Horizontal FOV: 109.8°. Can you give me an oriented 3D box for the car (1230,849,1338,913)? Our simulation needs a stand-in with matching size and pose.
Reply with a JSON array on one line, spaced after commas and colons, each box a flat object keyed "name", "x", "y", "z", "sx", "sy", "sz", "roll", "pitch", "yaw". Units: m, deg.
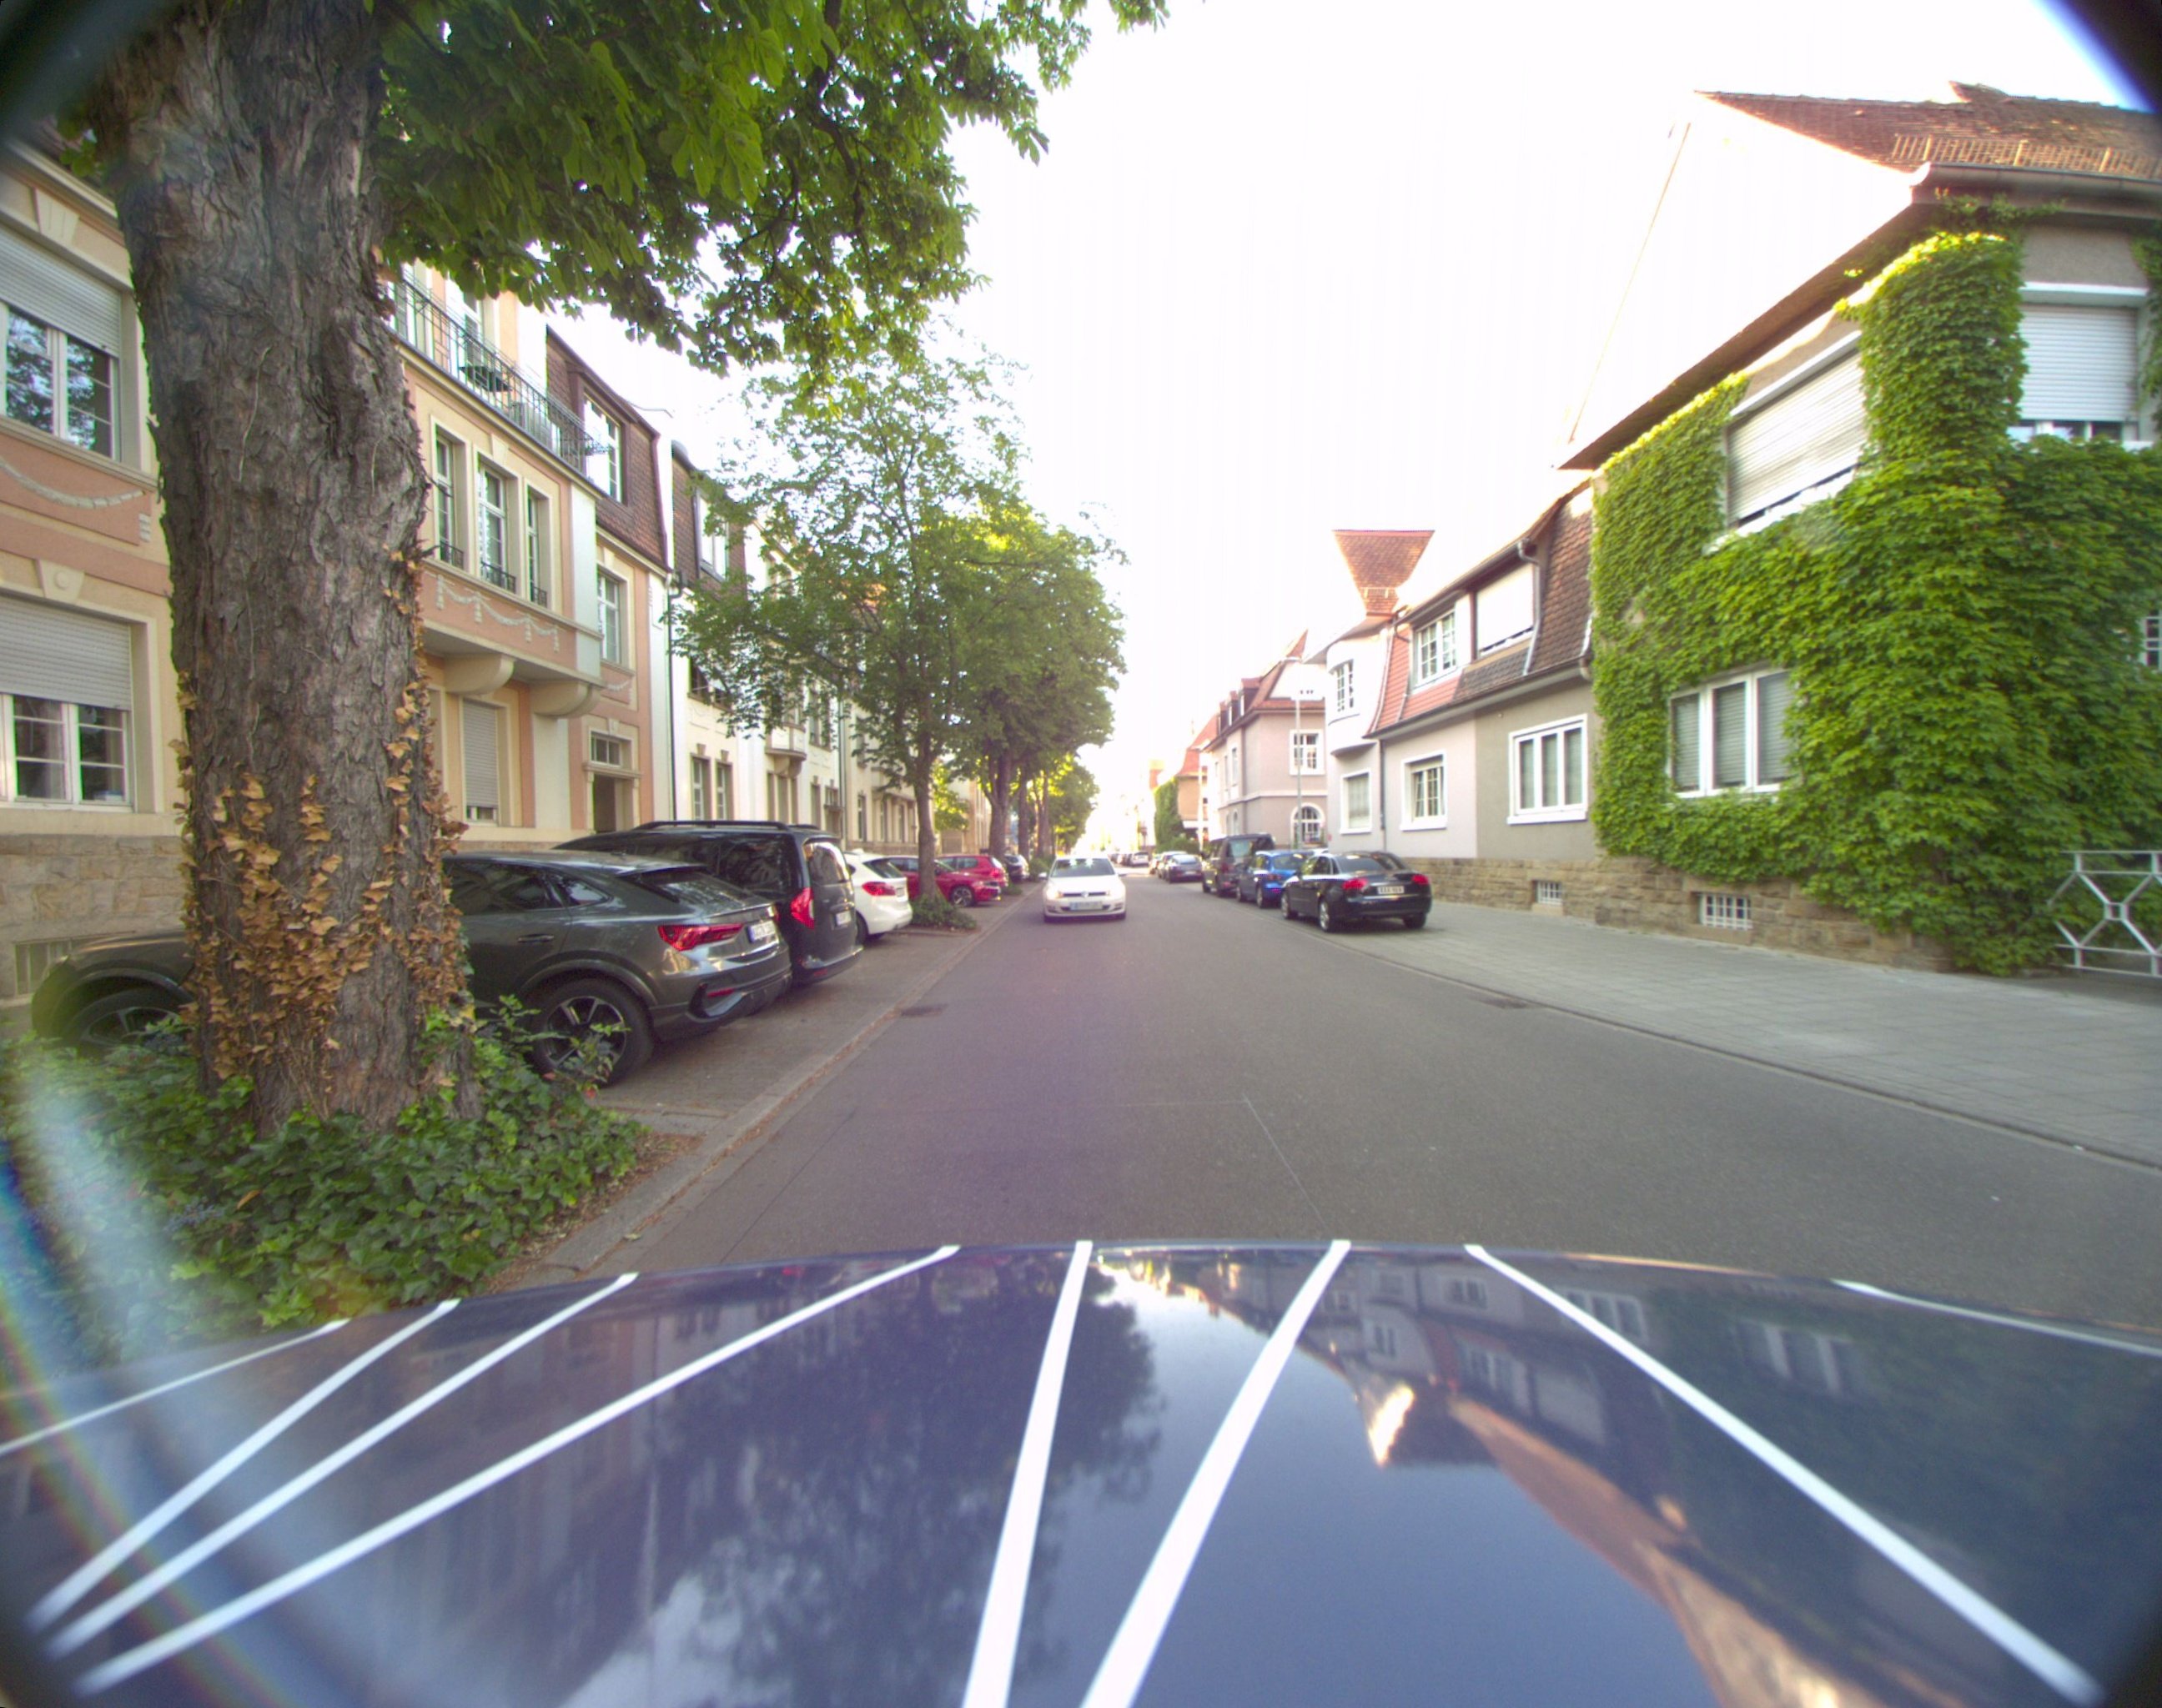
[{"name": "car", "x": 5.284, "y": 0.639, "z": 20.343, "sx": 1.768, "sy": 1.438, "sz": 4.062, "roll": -3, "pitch": 1, "yaw": 0}]

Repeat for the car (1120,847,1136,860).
[{"name": "car", "x": 5.563, "y": -0.070, "z": 91.009, "sx": 1.699, "sy": 1.520, "sz": 3.677, "roll": -3, "pitch": 1, "yaw": 2}]

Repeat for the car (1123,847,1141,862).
[{"name": "car", "x": 5.436, "y": 0.039, "z": 80.764, "sx": 1.699, "sy": 1.520, "sz": 3.677, "roll": -3, "pitch": 1, "yaw": 2}]

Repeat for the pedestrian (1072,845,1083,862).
[{"name": "pedestrian", "x": -0.373, "y": -0.070, "z": 85.685, "sx": 1.119, "sy": 1.927, "sz": 1.097, "roll": -3, "pitch": 1, "yaw": -1}]

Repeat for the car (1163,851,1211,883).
[{"name": "car", "x": 5.064, "y": 0.585, "z": 36.668, "sx": 1.932, "sy": 1.376, "sz": 4.063, "roll": -3, "pitch": 1, "yaw": 4}]

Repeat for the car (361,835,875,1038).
[{"name": "car", "x": -4.432, "y": 0.737, "z": 7.832, "sx": 4.121, "sy": 1.827, "sz": 1.844, "roll": 0, "pitch": 1, "yaw": -2}]

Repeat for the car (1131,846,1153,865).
[{"name": "car", "x": 5.422, "y": 0.133, "z": 68.007, "sx": 1.699, "sy": 1.558, "sz": 3.677, "roll": -3, "pitch": 1, "yaw": 2}]

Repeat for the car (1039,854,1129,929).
[{"name": "car", "x": 0.097, "y": 0.775, "z": 17.699, "sx": 1.819, "sy": 1.454, "sz": 4.072, "roll": -2, "pitch": 0, "yaw": 1}]

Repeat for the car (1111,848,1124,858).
[{"name": "car", "x": 5.547, "y": -0.176, "z": 115.862, "sx": 1.699, "sy": 1.520, "sz": 3.677, "roll": -3, "pitch": 1, "yaw": 2}]

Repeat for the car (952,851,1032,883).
[{"name": "car", "x": -4.278, "y": 0.616, "z": 36.840, "sx": 3.680, "sy": 1.548, "sz": 1.576, "roll": 0, "pitch": 1, "yaw": 2}]

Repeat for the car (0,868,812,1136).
[{"name": "car", "x": -4.534, "y": 0.892, "z": 5.507, "sx": 4.522, "sy": 1.514, "sz": 1.844, "roll": 0, "pitch": 1, "yaw": -4}]

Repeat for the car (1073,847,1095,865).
[{"name": "car", "x": 0.300, "y": 0.132, "z": 65.017, "sx": 1.819, "sy": 1.454, "sz": 4.072, "roll": -2, "pitch": 0, "yaw": 1}]

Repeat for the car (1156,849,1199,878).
[{"name": "car", "x": 5.286, "y": 0.493, "z": 42.144, "sx": 1.932, "sy": 1.458, "sz": 4.062, "roll": -3, "pitch": 1, "yaw": 2}]

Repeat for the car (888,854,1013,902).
[{"name": "car", "x": -4.135, "y": 0.746, "z": 24.466, "sx": 3.680, "sy": 1.473, "sz": 1.659, "roll": 0, "pitch": 1, "yaw": 3}]

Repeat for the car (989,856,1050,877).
[{"name": "car", "x": -3.563, "y": 0.721, "z": 44.436, "sx": 3.399, "sy": 1.143, "sz": 1.542, "roll": 0, "pitch": 1, "yaw": 2}]

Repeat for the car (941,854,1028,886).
[{"name": "car", "x": -4.311, "y": 0.707, "z": 34.326, "sx": 3.680, "sy": 1.390, "sz": 1.576, "roll": 0, "pitch": 1, "yaw": 2}]

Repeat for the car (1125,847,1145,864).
[{"name": "car", "x": 5.335, "y": 0.099, "z": 75.272, "sx": 1.699, "sy": 1.520, "sz": 3.677, "roll": -3, "pitch": 1, "yaw": 2}]

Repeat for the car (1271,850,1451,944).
[{"name": "car", "x": 5.140, "y": 0.692, "z": 14.658, "sx": 1.806, "sy": 1.438, "sz": 4.428, "roll": -3, "pitch": 1, "yaw": 0}]

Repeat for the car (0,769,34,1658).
[{"name": "car", "x": -4.589, "y": 0.771, "z": 0.522, "sx": 4.763, "sy": 1.864, "sz": 1.896, "roll": 0, "pitch": 1, "yaw": -4}]

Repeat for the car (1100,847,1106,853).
[{"name": "car", "x": 5.836, "y": -1.072, "z": 202.668, "sx": 1.699, "sy": 1.520, "sz": 3.677, "roll": -3, "pitch": 1, "yaw": 2}]

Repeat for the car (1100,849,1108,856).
[{"name": "car", "x": 5.280, "y": -0.309, "z": 173.290, "sx": 1.699, "sy": 1.520, "sz": 3.677, "roll": -3, "pitch": 1, "yaw": 2}]

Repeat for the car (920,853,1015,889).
[{"name": "car", "x": -4.675, "y": 0.704, "z": 31.710, "sx": 3.680, "sy": 1.458, "sz": 1.576, "roll": 0, "pitch": 1, "yaw": 2}]

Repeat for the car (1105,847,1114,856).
[{"name": "car", "x": 5.569, "y": -0.511, "z": 149.120, "sx": 1.699, "sy": 1.520, "sz": 3.677, "roll": -3, "pitch": 1, "yaw": 2}]

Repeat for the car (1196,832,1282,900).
[{"name": "car", "x": 5.148, "y": 0.346, "z": 25.354, "sx": 1.842, "sy": 1.964, "sz": 4.612, "roll": -3, "pitch": 1, "yaw": 0}]

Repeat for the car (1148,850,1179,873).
[{"name": "car", "x": 5.441, "y": 0.458, "z": 50.384, "sx": 1.662, "sy": 1.354, "sz": 3.677, "roll": -3, "pitch": 1, "yaw": 2}]

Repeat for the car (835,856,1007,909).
[{"name": "car", "x": -4.530, "y": 0.796, "z": 21.938, "sx": 4.530, "sy": 1.443, "sz": 1.867, "roll": 0, "pitch": 1, "yaw": 3}]

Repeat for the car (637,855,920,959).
[{"name": "car", "x": -4.826, "y": 0.815, "z": 12.532, "sx": 3.950, "sy": 1.568, "sz": 1.719, "roll": 0, "pitch": 1, "yaw": 0}]

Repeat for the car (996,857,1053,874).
[{"name": "car", "x": -3.514, "y": 0.713, "z": 47.642, "sx": 3.399, "sy": 1.057, "sz": 1.542, "roll": 0, "pitch": 1, "yaw": 2}]
